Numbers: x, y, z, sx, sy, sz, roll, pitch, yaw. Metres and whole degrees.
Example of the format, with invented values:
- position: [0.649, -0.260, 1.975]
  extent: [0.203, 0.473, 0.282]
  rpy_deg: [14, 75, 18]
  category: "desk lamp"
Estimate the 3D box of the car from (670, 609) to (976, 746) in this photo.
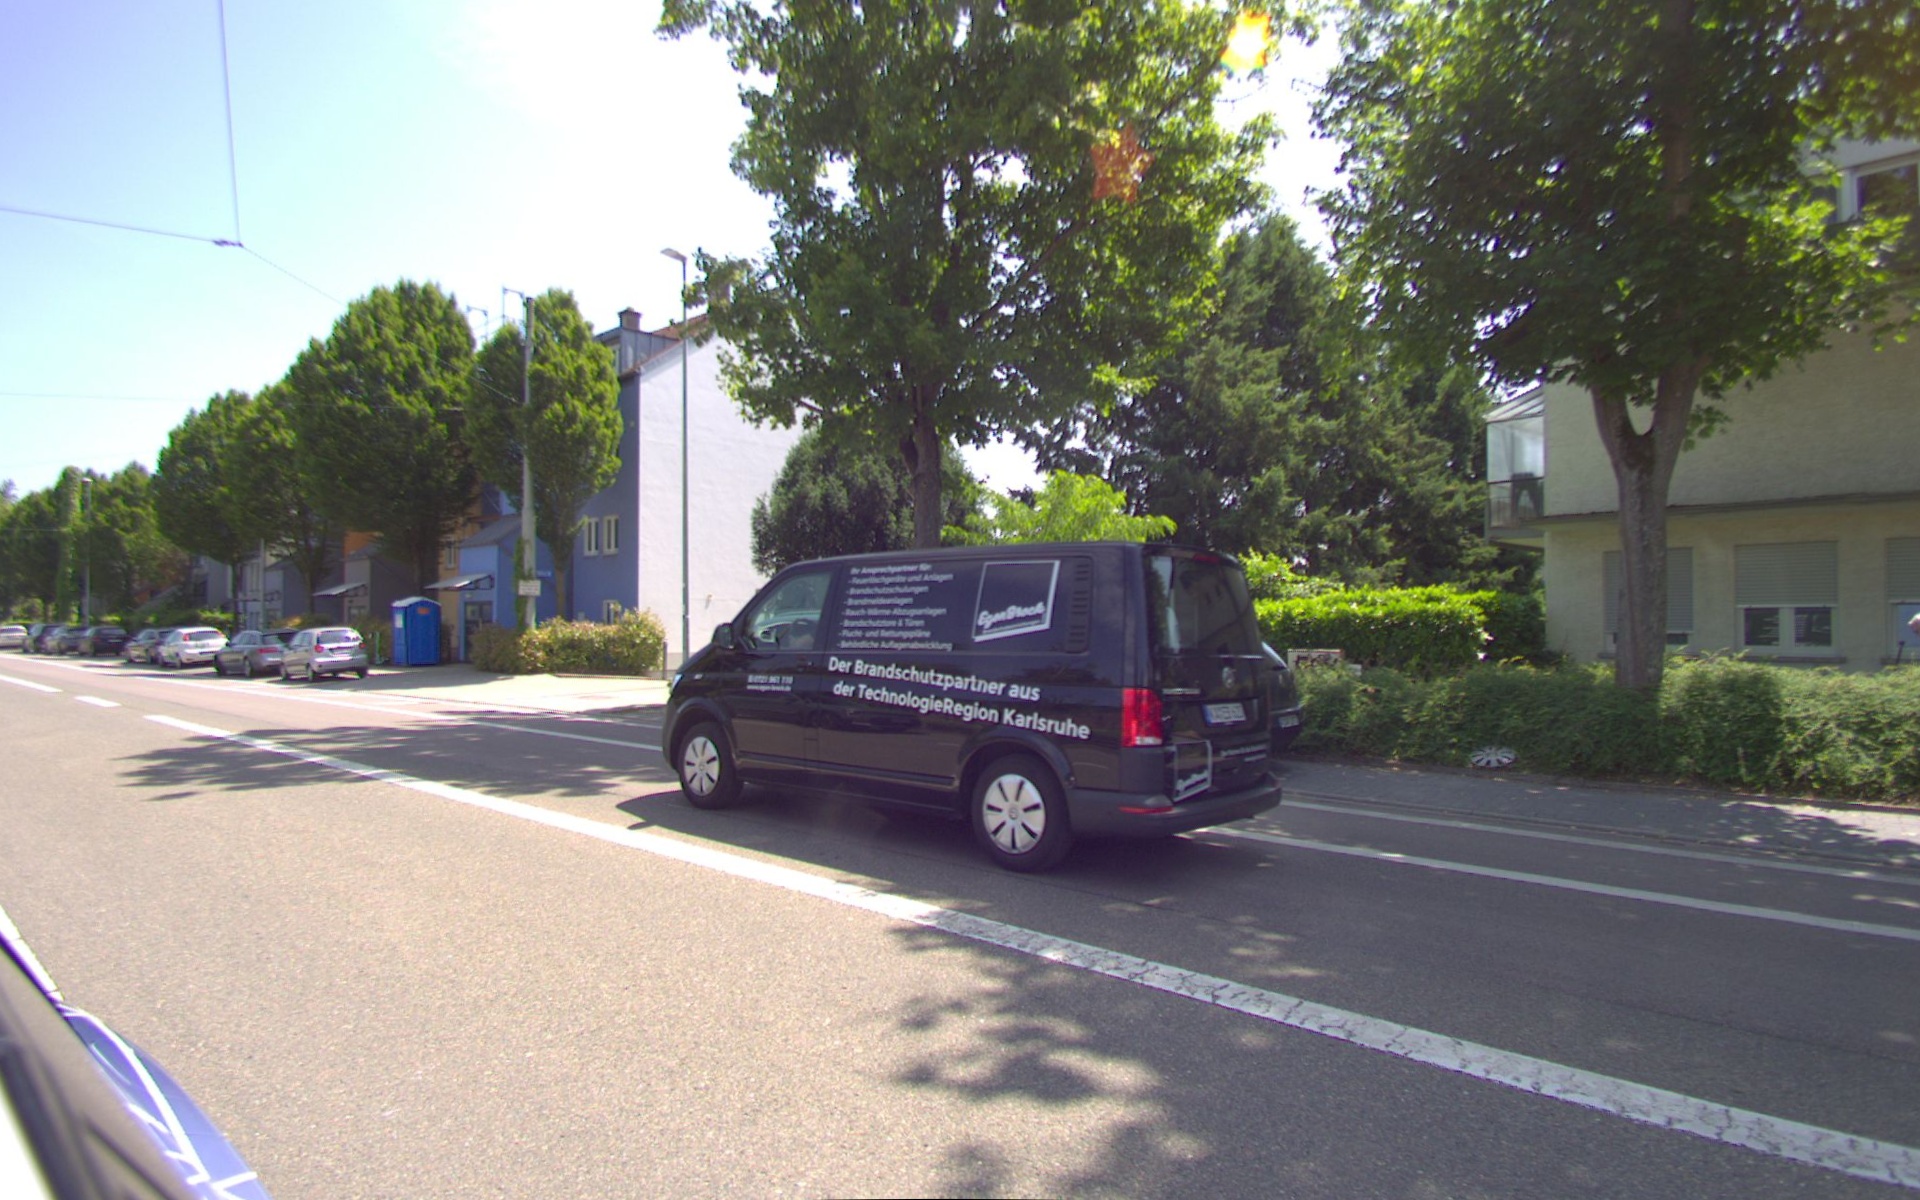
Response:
- position: [-2.156, 1.021, 14.994]
  extent: [4.686, 1.701, 1.950]
  rpy_deg: [-2, -1, 42]
  category: "car"

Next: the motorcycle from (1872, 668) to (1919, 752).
- position: [10.494, 1.170, 10.602]
  extent: [1.370, 0.832, 0.520]
  rpy_deg: [-2, 0, 42]
  category: "motorcycle"

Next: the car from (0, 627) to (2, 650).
- position: [-65.195, 2.605, 67.207]
  extent: [3.467, 1.507, 1.842]
  rpy_deg: [-1, 1, 39]
  category: "car"

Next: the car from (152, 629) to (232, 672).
- position: [-29.946, 1.927, 39.435]
  extent: [3.646, 1.507, 1.636]
  rpy_deg: [-1, 1, 39]
  category: "car"

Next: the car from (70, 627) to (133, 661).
- position: [-42.702, 2.159, 50.334]
  extent: [4.078, 1.507, 1.636]
  rpy_deg: [-1, 1, 39]
  category: "car"

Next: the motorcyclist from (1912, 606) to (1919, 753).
- position: [10.491, 0.828, 10.584]
  extent: [0.725, 1.514, 0.580]
  rpy_deg: [-2, 0, 42]
  category: "motorcyclist"

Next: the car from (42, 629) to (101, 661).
- position: [-46.627, 2.320, 53.104]
  extent: [4.078, 1.507, 1.636]
  rpy_deg: [-1, 1, 39]
  category: "car"

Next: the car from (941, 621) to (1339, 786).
- position: [1.874, 1.011, 11.353]
  extent: [4.125, 1.498, 1.659]
  rpy_deg: [-1, -1, 40]
  category: "car"

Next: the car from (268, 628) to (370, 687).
- position: [-18.692, 1.632, 29.475]
  extent: [3.279, 1.507, 1.487]
  rpy_deg: [-1, 2, 39]
  category: "car"

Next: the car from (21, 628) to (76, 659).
- position: [-51.277, 2.425, 56.916]
  extent: [4.078, 1.599, 1.636]
  rpy_deg: [-1, 1, 39]
  category: "car"

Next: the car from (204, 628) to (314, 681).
- position: [-22.706, 1.712, 32.722]
  extent: [4.634, 1.507, 1.660]
  rpy_deg: [-1, 1, 39]
  category: "car"

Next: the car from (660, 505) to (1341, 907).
- position: [0.038, 0.587, 7.087]
  extent: [4.568, 1.925, 1.898]
  rpy_deg: [-2, -3, 41]
  category: "car"

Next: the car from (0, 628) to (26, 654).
- position: [-60.423, 2.588, 63.769]
  extent: [4.078, 1.507, 1.702]
  rpy_deg: [-1, 1, 39]
  category: "car"

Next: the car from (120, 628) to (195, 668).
- position: [-34.069, 2.007, 42.914]
  extent: [4.078, 1.507, 1.636]
  rpy_deg: [-1, 1, 39]
  category: "car"
